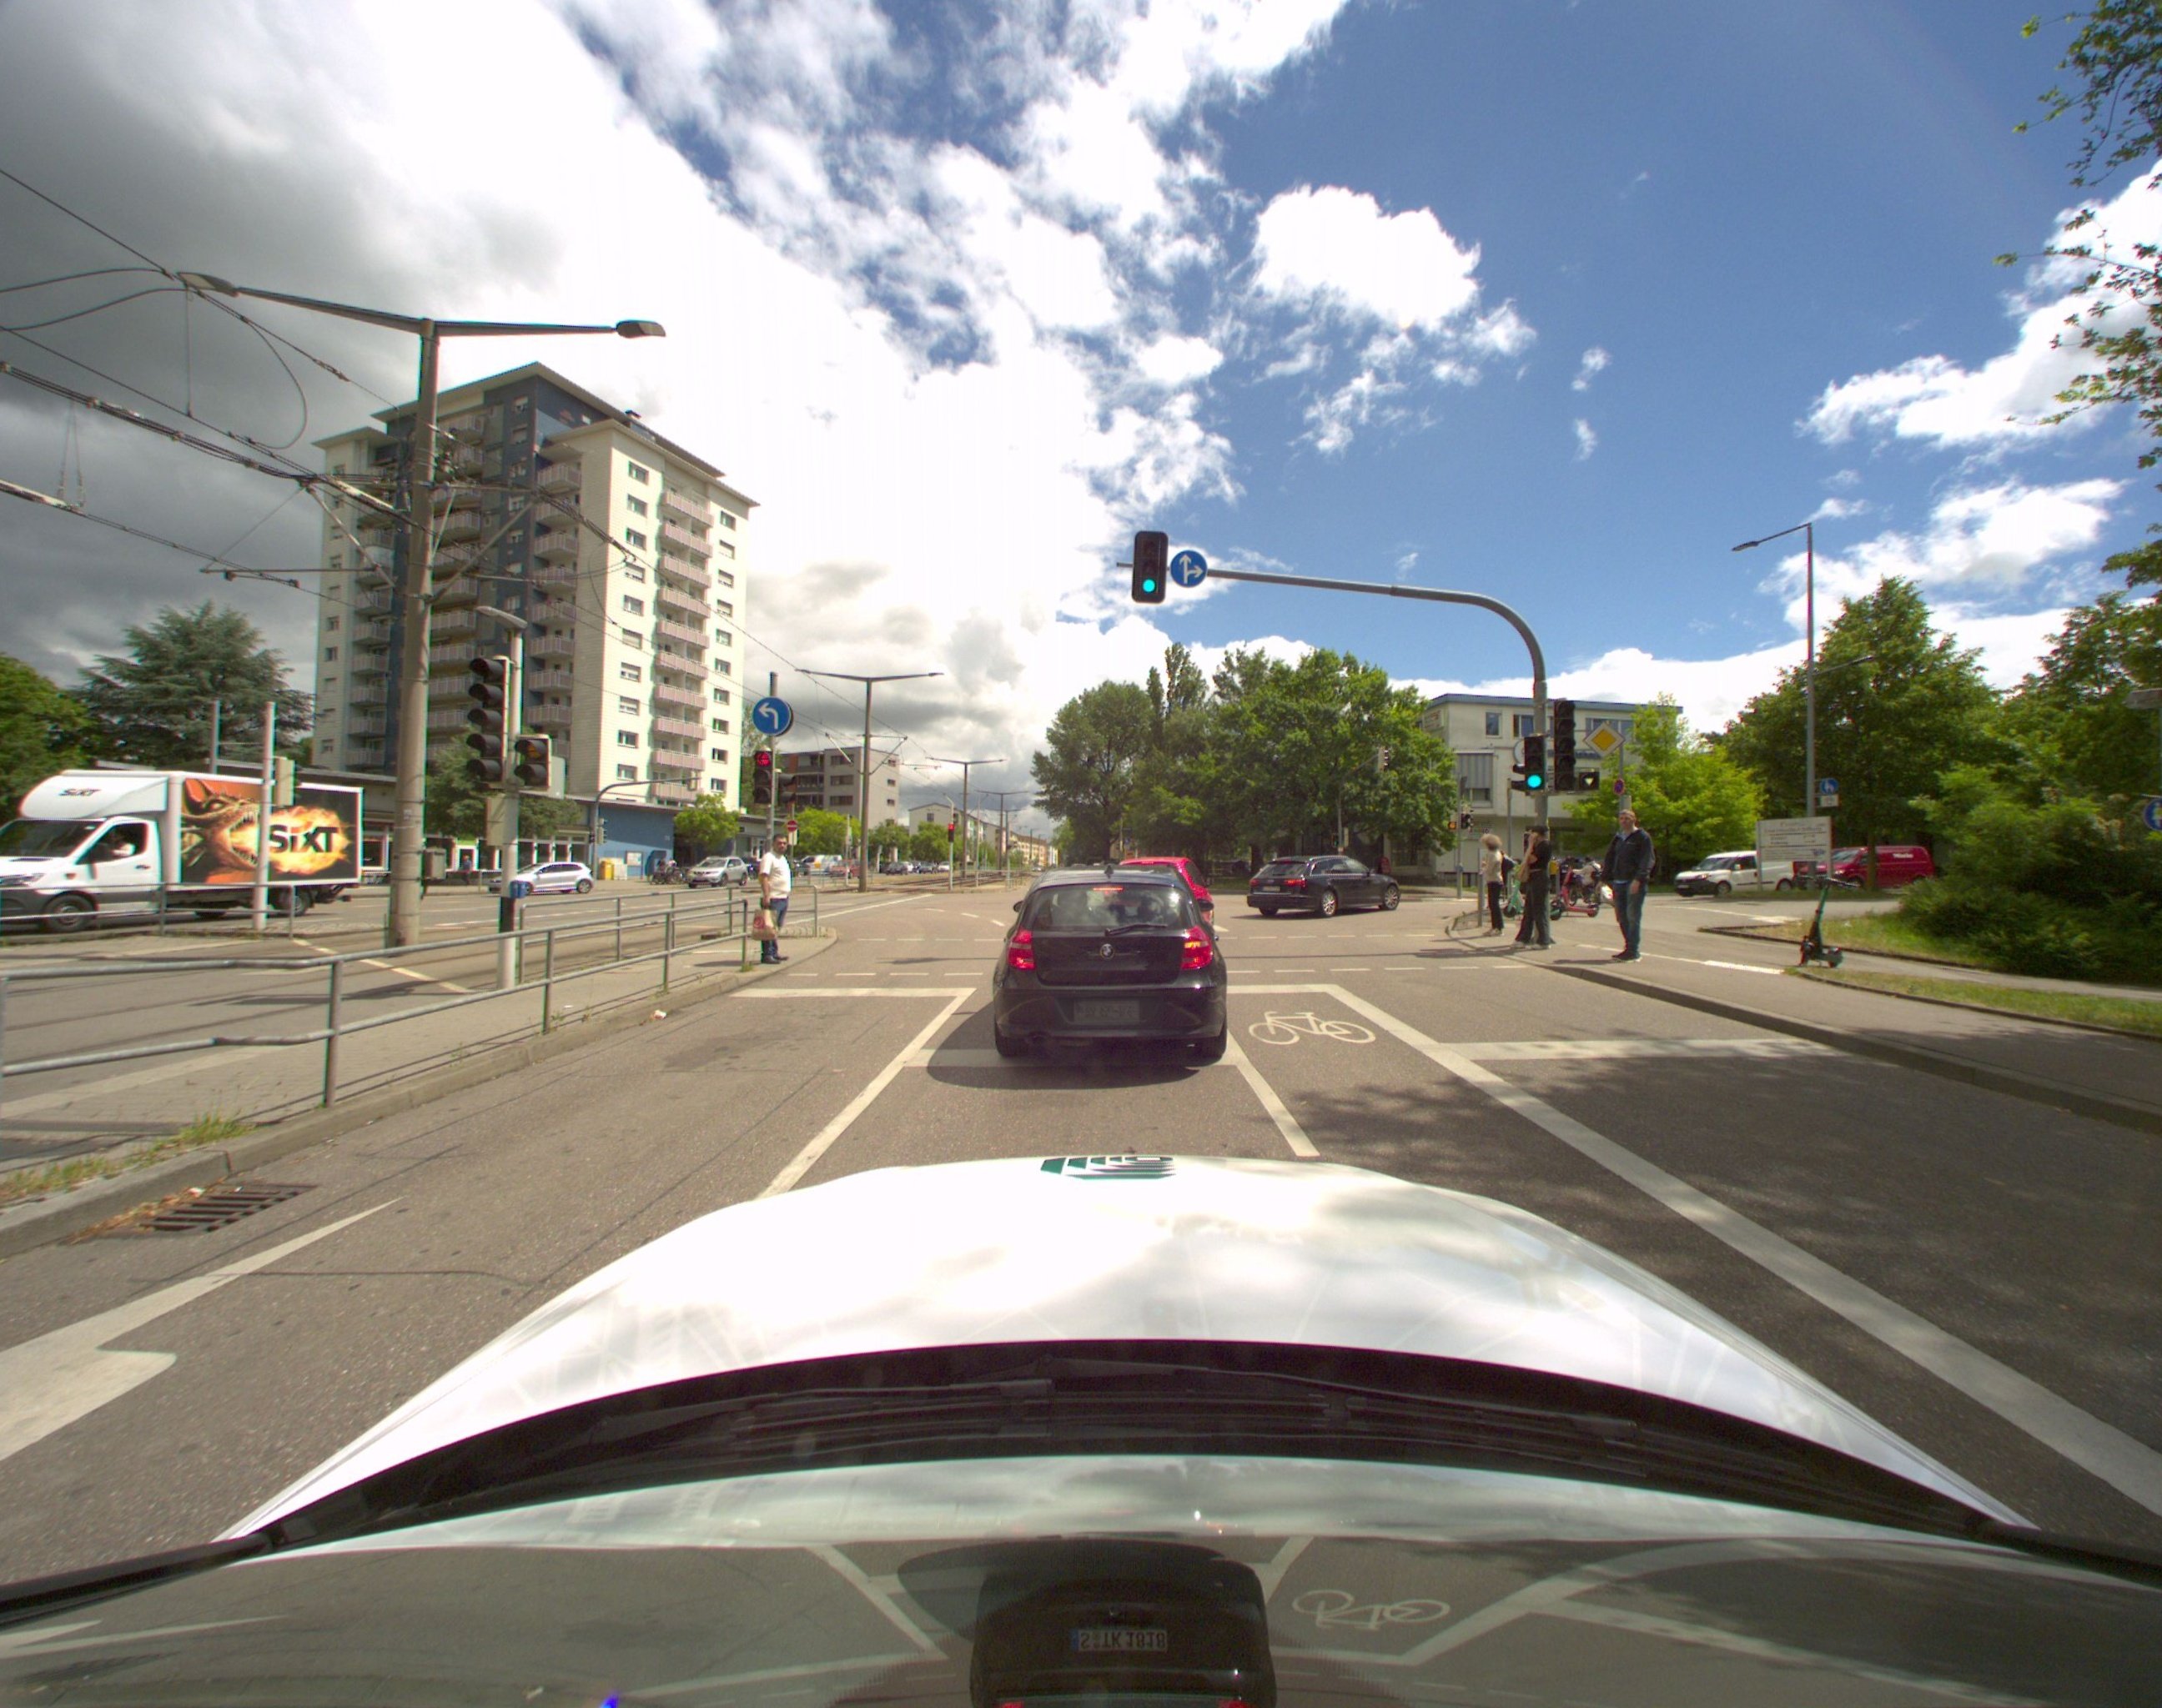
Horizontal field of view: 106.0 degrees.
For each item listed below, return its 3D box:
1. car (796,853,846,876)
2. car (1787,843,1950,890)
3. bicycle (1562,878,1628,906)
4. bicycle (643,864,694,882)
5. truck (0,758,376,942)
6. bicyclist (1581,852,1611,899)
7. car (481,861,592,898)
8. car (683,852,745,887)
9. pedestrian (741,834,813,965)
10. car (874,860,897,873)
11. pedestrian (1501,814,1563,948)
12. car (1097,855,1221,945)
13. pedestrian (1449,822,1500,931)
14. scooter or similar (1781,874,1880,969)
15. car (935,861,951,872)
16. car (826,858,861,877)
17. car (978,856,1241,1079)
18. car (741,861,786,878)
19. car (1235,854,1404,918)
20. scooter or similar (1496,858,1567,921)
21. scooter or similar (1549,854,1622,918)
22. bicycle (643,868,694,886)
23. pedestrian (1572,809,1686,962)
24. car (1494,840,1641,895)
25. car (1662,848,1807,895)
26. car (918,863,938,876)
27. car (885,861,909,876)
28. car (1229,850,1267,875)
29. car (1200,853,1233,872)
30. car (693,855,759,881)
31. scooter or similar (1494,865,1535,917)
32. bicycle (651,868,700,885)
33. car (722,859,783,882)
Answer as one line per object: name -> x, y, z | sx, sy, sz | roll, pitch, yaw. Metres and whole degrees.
car -> -23.448, 0.949, 73.458 | 3.944, 1.975, 1.637 | -1, 0, -40
car -> 31.689, 0.489, 32.843 | 4.953, 1.799, 1.997 | 0, 0, -5
bicycle -> 12.708, 0.930, 20.172 | 0.532, 0.610, 1.587 | 0, 0, -6
bicycle -> -23.602, 1.118, 46.689 | 2.569, 1.008, 0.749 | 1, -2, -26
truck -> -19.310, -0.081, 17.381 | 2.275, 3.118, 7.314 | 0, 0, -1
bicyclist -> 12.715, 0.522, 20.107 | 0.500, 1.157, 0.399 | -1, 0, -6
car -> -23.499, 1.077, 35.276 | 1.394, 1.461, 3.796 | 0, 0, 25
car -> -19.713, 0.797, 43.906 | 1.585, 1.756, 3.776 | 0, 0, 2
pedestrian -> -4.158, 0.605, 11.186 | 0.684, 1.734, 0.688 | -1, 0, 2
car -> -23.057, 1.473, 96.148 | 1.585, 1.474, 3.776 | 0, 0, 2
pedestrian -> 6.470, 0.380, 11.715 | 0.632, 1.876, 0.519 | 0, 0, 8
car -> 1.523, 0.733, 14.762 | 1.626, 1.399, 3.434 | 0, 0, 16
pedestrian -> 6.534, 0.365, 13.534 | 0.632, 1.766, 0.519 | 0, 0, 8
scooter or similar -> 10.511, 0.934, 11.438 | 0.886, 1.230, 0.455 | 4, 0, 2
car -> -19.744, 1.809, 116.660 | 1.645, 1.534, 3.872 | 0, 0, 1
car -> -19.804, 1.124, 68.034 | 1.645, 1.534, 3.872 | 0, 0, 1
car -> 0.260, 0.744, 6.984 | 1.693, 1.399, 3.422 | 0, 0, 3
car -> -25.388, 1.256, 65.168 | 3.118, 1.281, 1.454 | 0, 0, -33
car -> 6.023, 0.713, 20.252 | 4.563, 1.422, 1.884 | 0, 0, -41
scooter or similar -> 8.917, 0.693, 16.132 | 1.104, 1.235, 0.540 | 0, 0, 4
scooter or similar -> 10.371, 0.642, 16.769 | 1.145, 1.272, 0.556 | 1, 0, 4
bicycle -> -23.975, 1.352, 47.372 | 2.569, 1.008, 0.749 | 1, -2, -26
pedestrian -> 7.084, 0.383, 10.544 | 1.014, 1.876, 0.792 | 0, 0, -21
car -> 18.441, 0.491, 31.019 | 4.528, 2.013, 1.997 | 0, 0, -5
car -> 25.797, 0.670, 32.228 | 4.366, 1.764, 1.996 | 0, 0, -7
car -> -19.265, 1.901, 102.588 | 1.645, 1.534, 3.872 | 0, 0, 1
car -> -19.905, 1.522, 88.177 | 1.645, 1.534, 3.872 | 0, 0, 1
car -> 12.842, 0.628, 62.759 | 1.724, 1.871, 3.991 | 0, 0, -6
car -> 12.204, 0.775, 73.515 | 1.862, 1.662, 3.989 | 0, 0, -8
car -> -24.580, 0.944, 56.434 | 4.012, 1.687, 1.561 | -1, 0, -30
scooter or similar -> 9.443, 0.782, 17.759 | 0.543, 1.064, 1.268 | 0, 0, 16
bicycle -> -24.082, 1.345, 48.479 | 2.569, 1.008, 0.749 | 1, -2, -26
car -> -25.030, 1.261, 62.087 | 3.946, 1.647, 1.636 | -1, 0, -43
